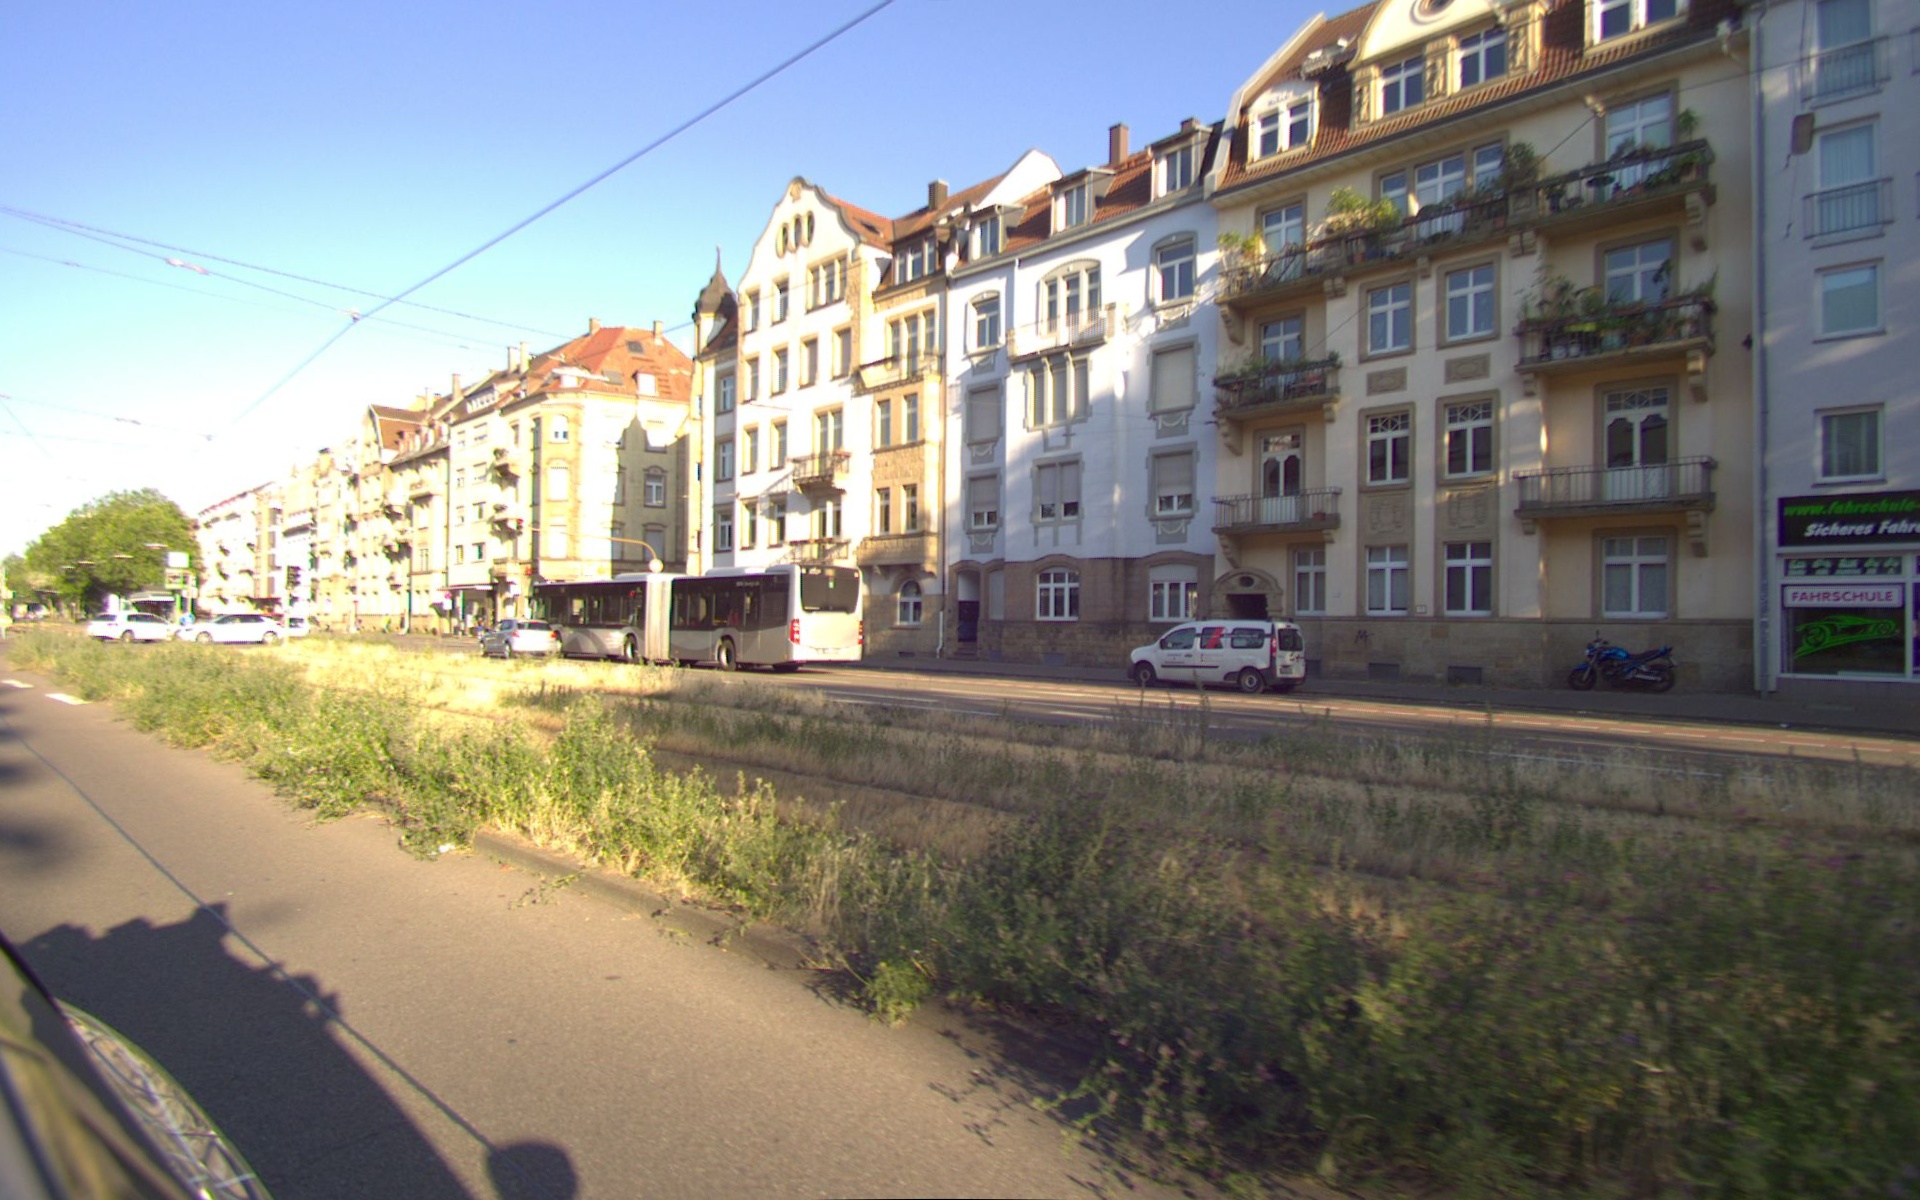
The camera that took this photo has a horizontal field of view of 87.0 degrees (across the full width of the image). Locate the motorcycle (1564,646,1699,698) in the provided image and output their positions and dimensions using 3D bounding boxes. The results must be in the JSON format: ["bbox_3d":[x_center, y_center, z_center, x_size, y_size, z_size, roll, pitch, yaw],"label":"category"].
[{"bbox_3d":[14.827,1.572,22.403,2.421,1.029,0.522,-1,0,44],"label":"motorcycle"}]

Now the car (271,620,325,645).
[{"bbox_3d":[-41.089,2.034,62.938,1.708,1.491,3.825,1,-2,-16],"label":"car"}]

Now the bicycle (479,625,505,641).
[{"bbox_3d":[-31.795,2.244,68.800,2.502,1.064,0.658,-1,-2,42],"label":"bicycle"}]

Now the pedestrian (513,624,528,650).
[{"bbox_3d":[-28.514,2.384,65.702,0.770,1.653,0.621,-1,-2,43],"label":"pedestrian"}]

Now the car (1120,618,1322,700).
[{"bbox_3d":[6.487,1.401,25.530,1.882,1.800,4.657,2,-1,-44],"label":"car"}]

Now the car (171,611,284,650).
[{"bbox_3d":[-34.061,1.413,47.113,1.836,1.719,3.943,0,-1,42],"label":"car"}]

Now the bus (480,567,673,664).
[{"bbox_3d":[-15.374,0.583,40.038,9.903,3.399,3.228,0,-1,44],"label":"bus"}]

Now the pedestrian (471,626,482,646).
[{"bbox_3d":[-33.590,2.498,70.298,0.555,1.373,0.546,-1,-2,44],"label":"pedestrian"}]

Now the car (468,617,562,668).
[{"bbox_3d":[-16.122,1.505,36.589,1.906,1.697,4.005,2,-1,-42],"label":"car"}]

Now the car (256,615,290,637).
[{"bbox_3d":[-63.299,2.399,93.233,1.892,1.914,4.313,2,-1,-44],"label":"car"}]

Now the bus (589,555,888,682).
[{"bbox_3d":[-7.515,0.519,32.369,11.981,3.399,3.218,0,-1,44],"label":"bus"}]

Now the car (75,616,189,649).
[{"bbox_3d":[-39.373,1.521,48.249,1.822,1.461,4.103,1,-1,6],"label":"car"}]
